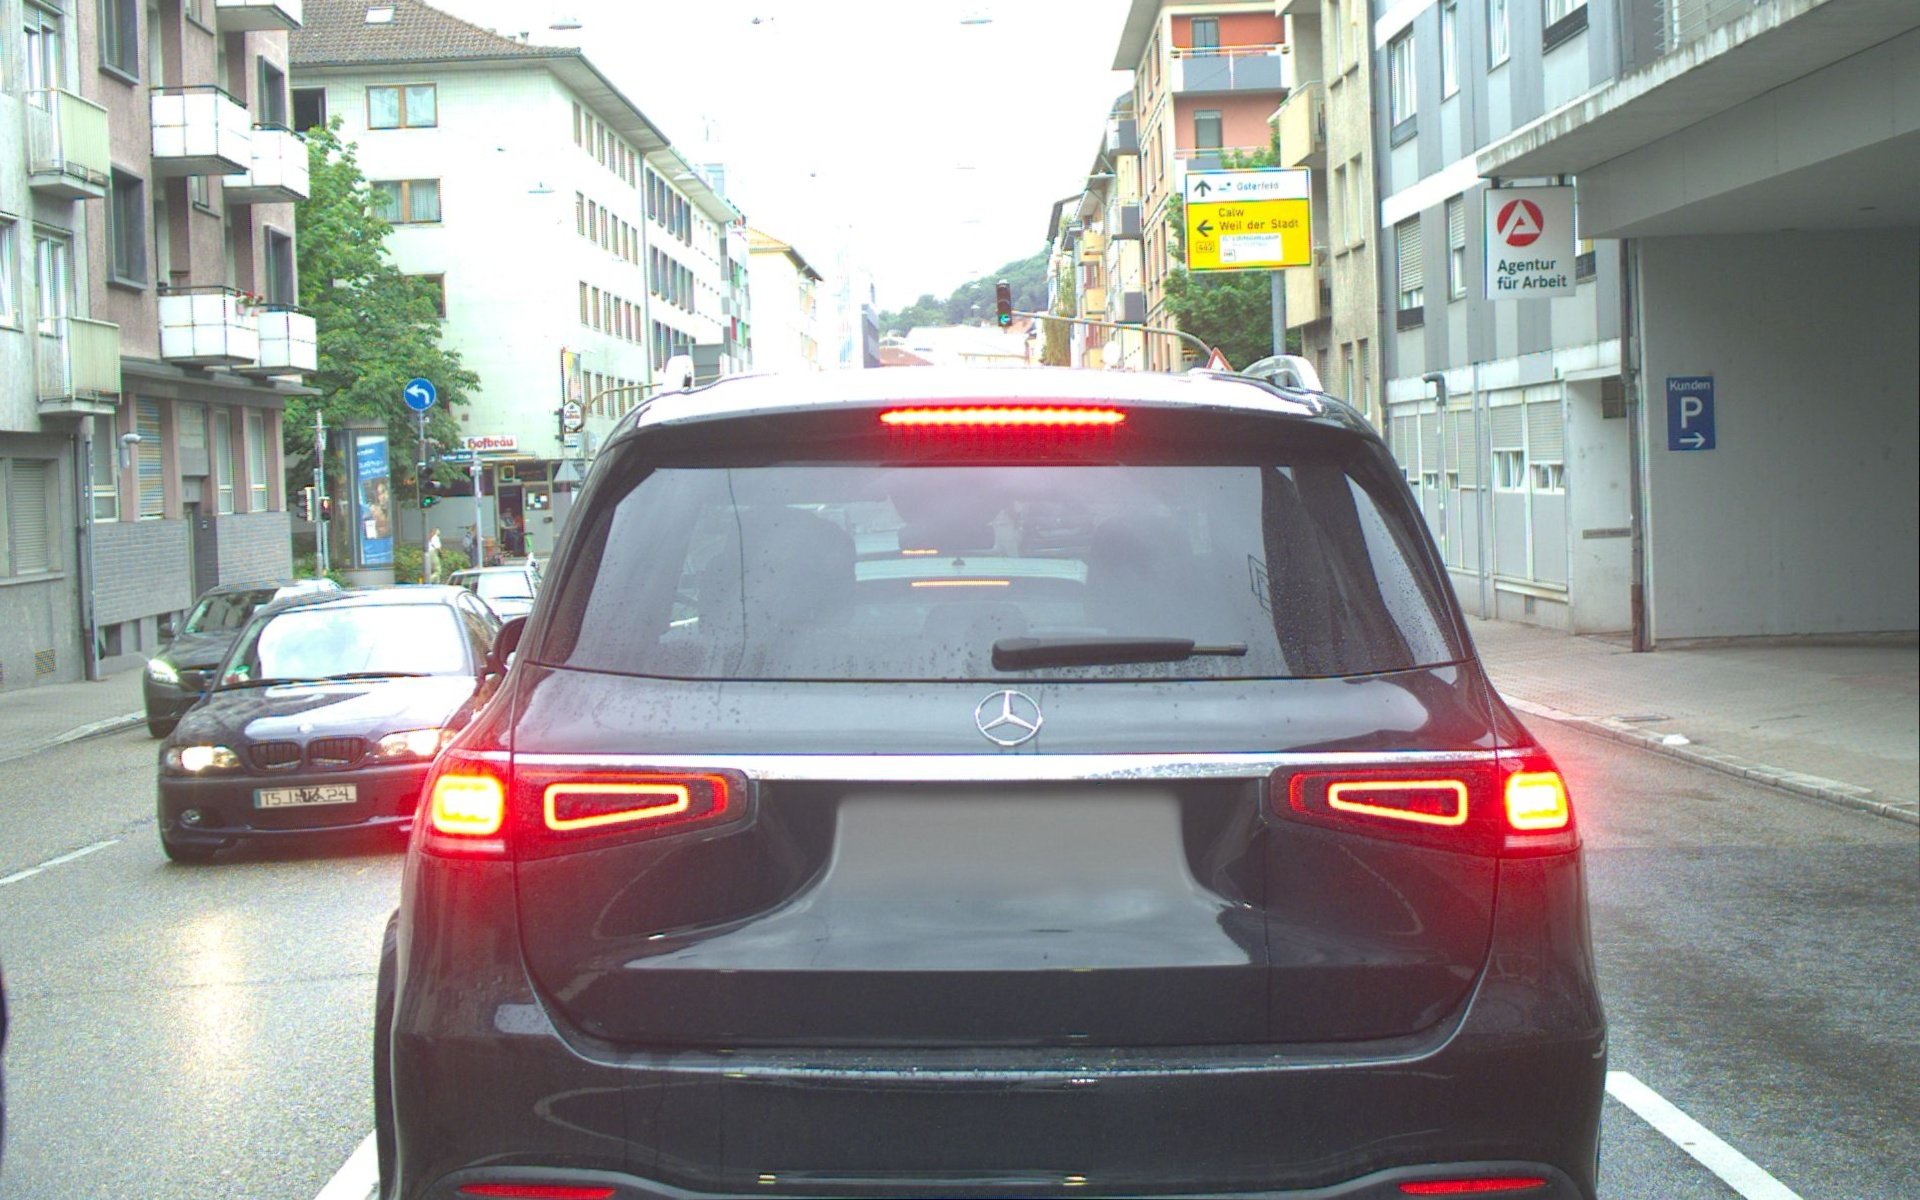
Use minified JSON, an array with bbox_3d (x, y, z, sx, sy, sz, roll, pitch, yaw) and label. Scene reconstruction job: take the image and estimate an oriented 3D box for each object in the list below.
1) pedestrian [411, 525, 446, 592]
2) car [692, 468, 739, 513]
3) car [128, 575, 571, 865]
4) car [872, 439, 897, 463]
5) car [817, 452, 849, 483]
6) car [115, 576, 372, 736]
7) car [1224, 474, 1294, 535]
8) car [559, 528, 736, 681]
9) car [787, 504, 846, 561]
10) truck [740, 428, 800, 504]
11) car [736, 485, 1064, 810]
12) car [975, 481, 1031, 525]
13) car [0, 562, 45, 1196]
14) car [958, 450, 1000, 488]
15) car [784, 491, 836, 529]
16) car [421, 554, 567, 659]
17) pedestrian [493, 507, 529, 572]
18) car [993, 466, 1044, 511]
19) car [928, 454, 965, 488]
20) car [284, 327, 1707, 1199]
[{"bbox_3d":[-14.201,-1.115,91.850,0.636,1.758,0.773,-2,1,9],"label":"pedestrian"},{"bbox_3d":[-9.332,-4.189,131.598,1.618,1.534,4.218,-3,1,-3],"label":"car"},{"bbox_3d":[-3.338,0.599,19.560,1.695,1.365,4.218,-4,0,0],"label":"car"},{"bbox_3d":[-5.489,-10.847,250.133,1.618,1.534,4.218,-3,1,-3],"label":"car"},{"bbox_3d":[-7.161,-7.472,193.643,1.618,1.534,4.218,-3,1,-3],"label":"car"},{"bbox_3d":[-7.044,0.504,34.189,1.694,1.365,4.367,-4,1,-2],"label":"car"},{"bbox_3d":[8.212,-2.619,94.617,1.671,1.583,3.330,-2,1,2],"label":"car"},{"bbox_3d":[-3.550,0.041,39.680,1.694,1.575,4.218,-4,0,-2],"label":"car"},{"bbox_3d":[-4.241,-1.978,101.229,1.618,1.534,4.218,-3,1,-3],"label":"car"},{"bbox_3d":[-8.628,-6.082,157.015,2.479,3.035,9.921,-3,1,-3],"label":"truck"},{"bbox_3d":[-0.428,0.240,20.844,1.751,1.725,4.218,-1,1,-3],"label":"car"},{"bbox_3d":[1.493,-3.361,119.803,1.618,1.382,4.218,-3,1,-3],"label":"car"},{"bbox_3d":[-3.087,0.733,6.635,1.618,1.534,4.218,-3,1,-3],"label":"car"},{"bbox_3d":[0.840,-5.998,157.479,1.618,1.534,4.218,-3,1,-3],"label":"car"},{"bbox_3d":[-5.742,-3.407,131.063,1.885,1.260,4.218,-3,1,-3],"label":"car"},{"bbox_3d":[-6.874,0.058,51.028,1.598,1.365,4.363,-4,1,-2],"label":"car"},{"bbox_3d":[-13.305,-1.801,101.883,0.923,1.895,0.706,-2,1,-2],"label":"pedestrian"},{"bbox_3d":[2.240,-4.253,132.014,1.618,1.534,4.218,-3,1,-3],"label":"car"},{"bbox_3d":[-0.690,-6.608,176.156,1.618,1.534,4.218,-3,1,-3],"label":"car"},{"bbox_3d":[0.022,0.508,7.030,1.985,1.799,4.390,1,1,-1],"label":"car"}]
